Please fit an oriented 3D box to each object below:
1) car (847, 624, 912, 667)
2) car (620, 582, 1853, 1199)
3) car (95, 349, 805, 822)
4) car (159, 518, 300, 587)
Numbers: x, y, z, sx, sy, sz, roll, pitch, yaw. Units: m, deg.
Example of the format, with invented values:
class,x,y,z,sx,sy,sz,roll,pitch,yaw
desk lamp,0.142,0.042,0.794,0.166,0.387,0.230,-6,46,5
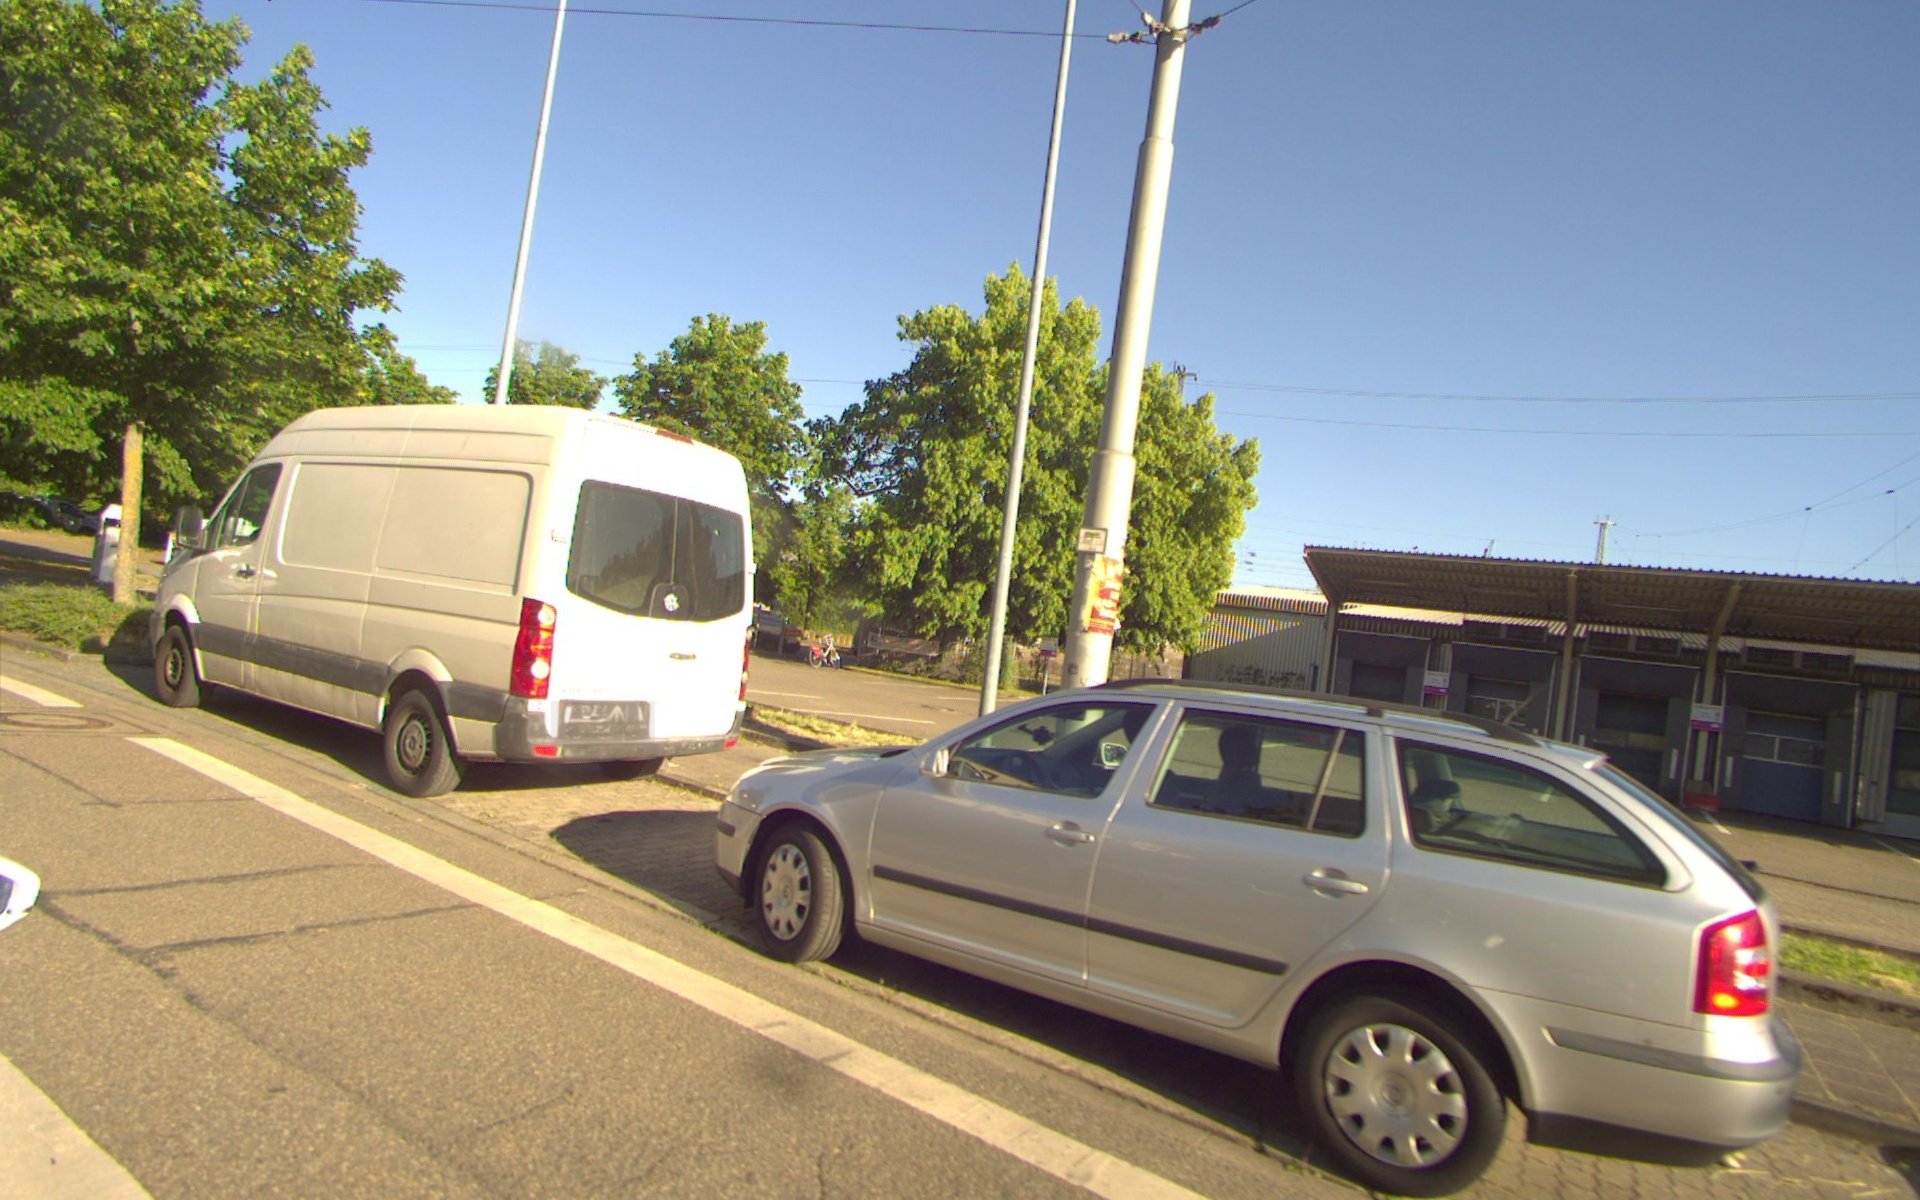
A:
class,x,y,z,sx,sy,sz,roll,pitch,yaw
car,-4.336,2.510,54.731,1.712,1.943,4.144,7,-2,21
car,0.800,0.984,4.607,4.525,1.547,1.914,6,-2,32
car,-4.398,-0.261,8.223,5.990,2.698,2.183,6,-1,32
car,-28.384,-1.808,39.249,1.774,1.880,3.926,7,-4,22
